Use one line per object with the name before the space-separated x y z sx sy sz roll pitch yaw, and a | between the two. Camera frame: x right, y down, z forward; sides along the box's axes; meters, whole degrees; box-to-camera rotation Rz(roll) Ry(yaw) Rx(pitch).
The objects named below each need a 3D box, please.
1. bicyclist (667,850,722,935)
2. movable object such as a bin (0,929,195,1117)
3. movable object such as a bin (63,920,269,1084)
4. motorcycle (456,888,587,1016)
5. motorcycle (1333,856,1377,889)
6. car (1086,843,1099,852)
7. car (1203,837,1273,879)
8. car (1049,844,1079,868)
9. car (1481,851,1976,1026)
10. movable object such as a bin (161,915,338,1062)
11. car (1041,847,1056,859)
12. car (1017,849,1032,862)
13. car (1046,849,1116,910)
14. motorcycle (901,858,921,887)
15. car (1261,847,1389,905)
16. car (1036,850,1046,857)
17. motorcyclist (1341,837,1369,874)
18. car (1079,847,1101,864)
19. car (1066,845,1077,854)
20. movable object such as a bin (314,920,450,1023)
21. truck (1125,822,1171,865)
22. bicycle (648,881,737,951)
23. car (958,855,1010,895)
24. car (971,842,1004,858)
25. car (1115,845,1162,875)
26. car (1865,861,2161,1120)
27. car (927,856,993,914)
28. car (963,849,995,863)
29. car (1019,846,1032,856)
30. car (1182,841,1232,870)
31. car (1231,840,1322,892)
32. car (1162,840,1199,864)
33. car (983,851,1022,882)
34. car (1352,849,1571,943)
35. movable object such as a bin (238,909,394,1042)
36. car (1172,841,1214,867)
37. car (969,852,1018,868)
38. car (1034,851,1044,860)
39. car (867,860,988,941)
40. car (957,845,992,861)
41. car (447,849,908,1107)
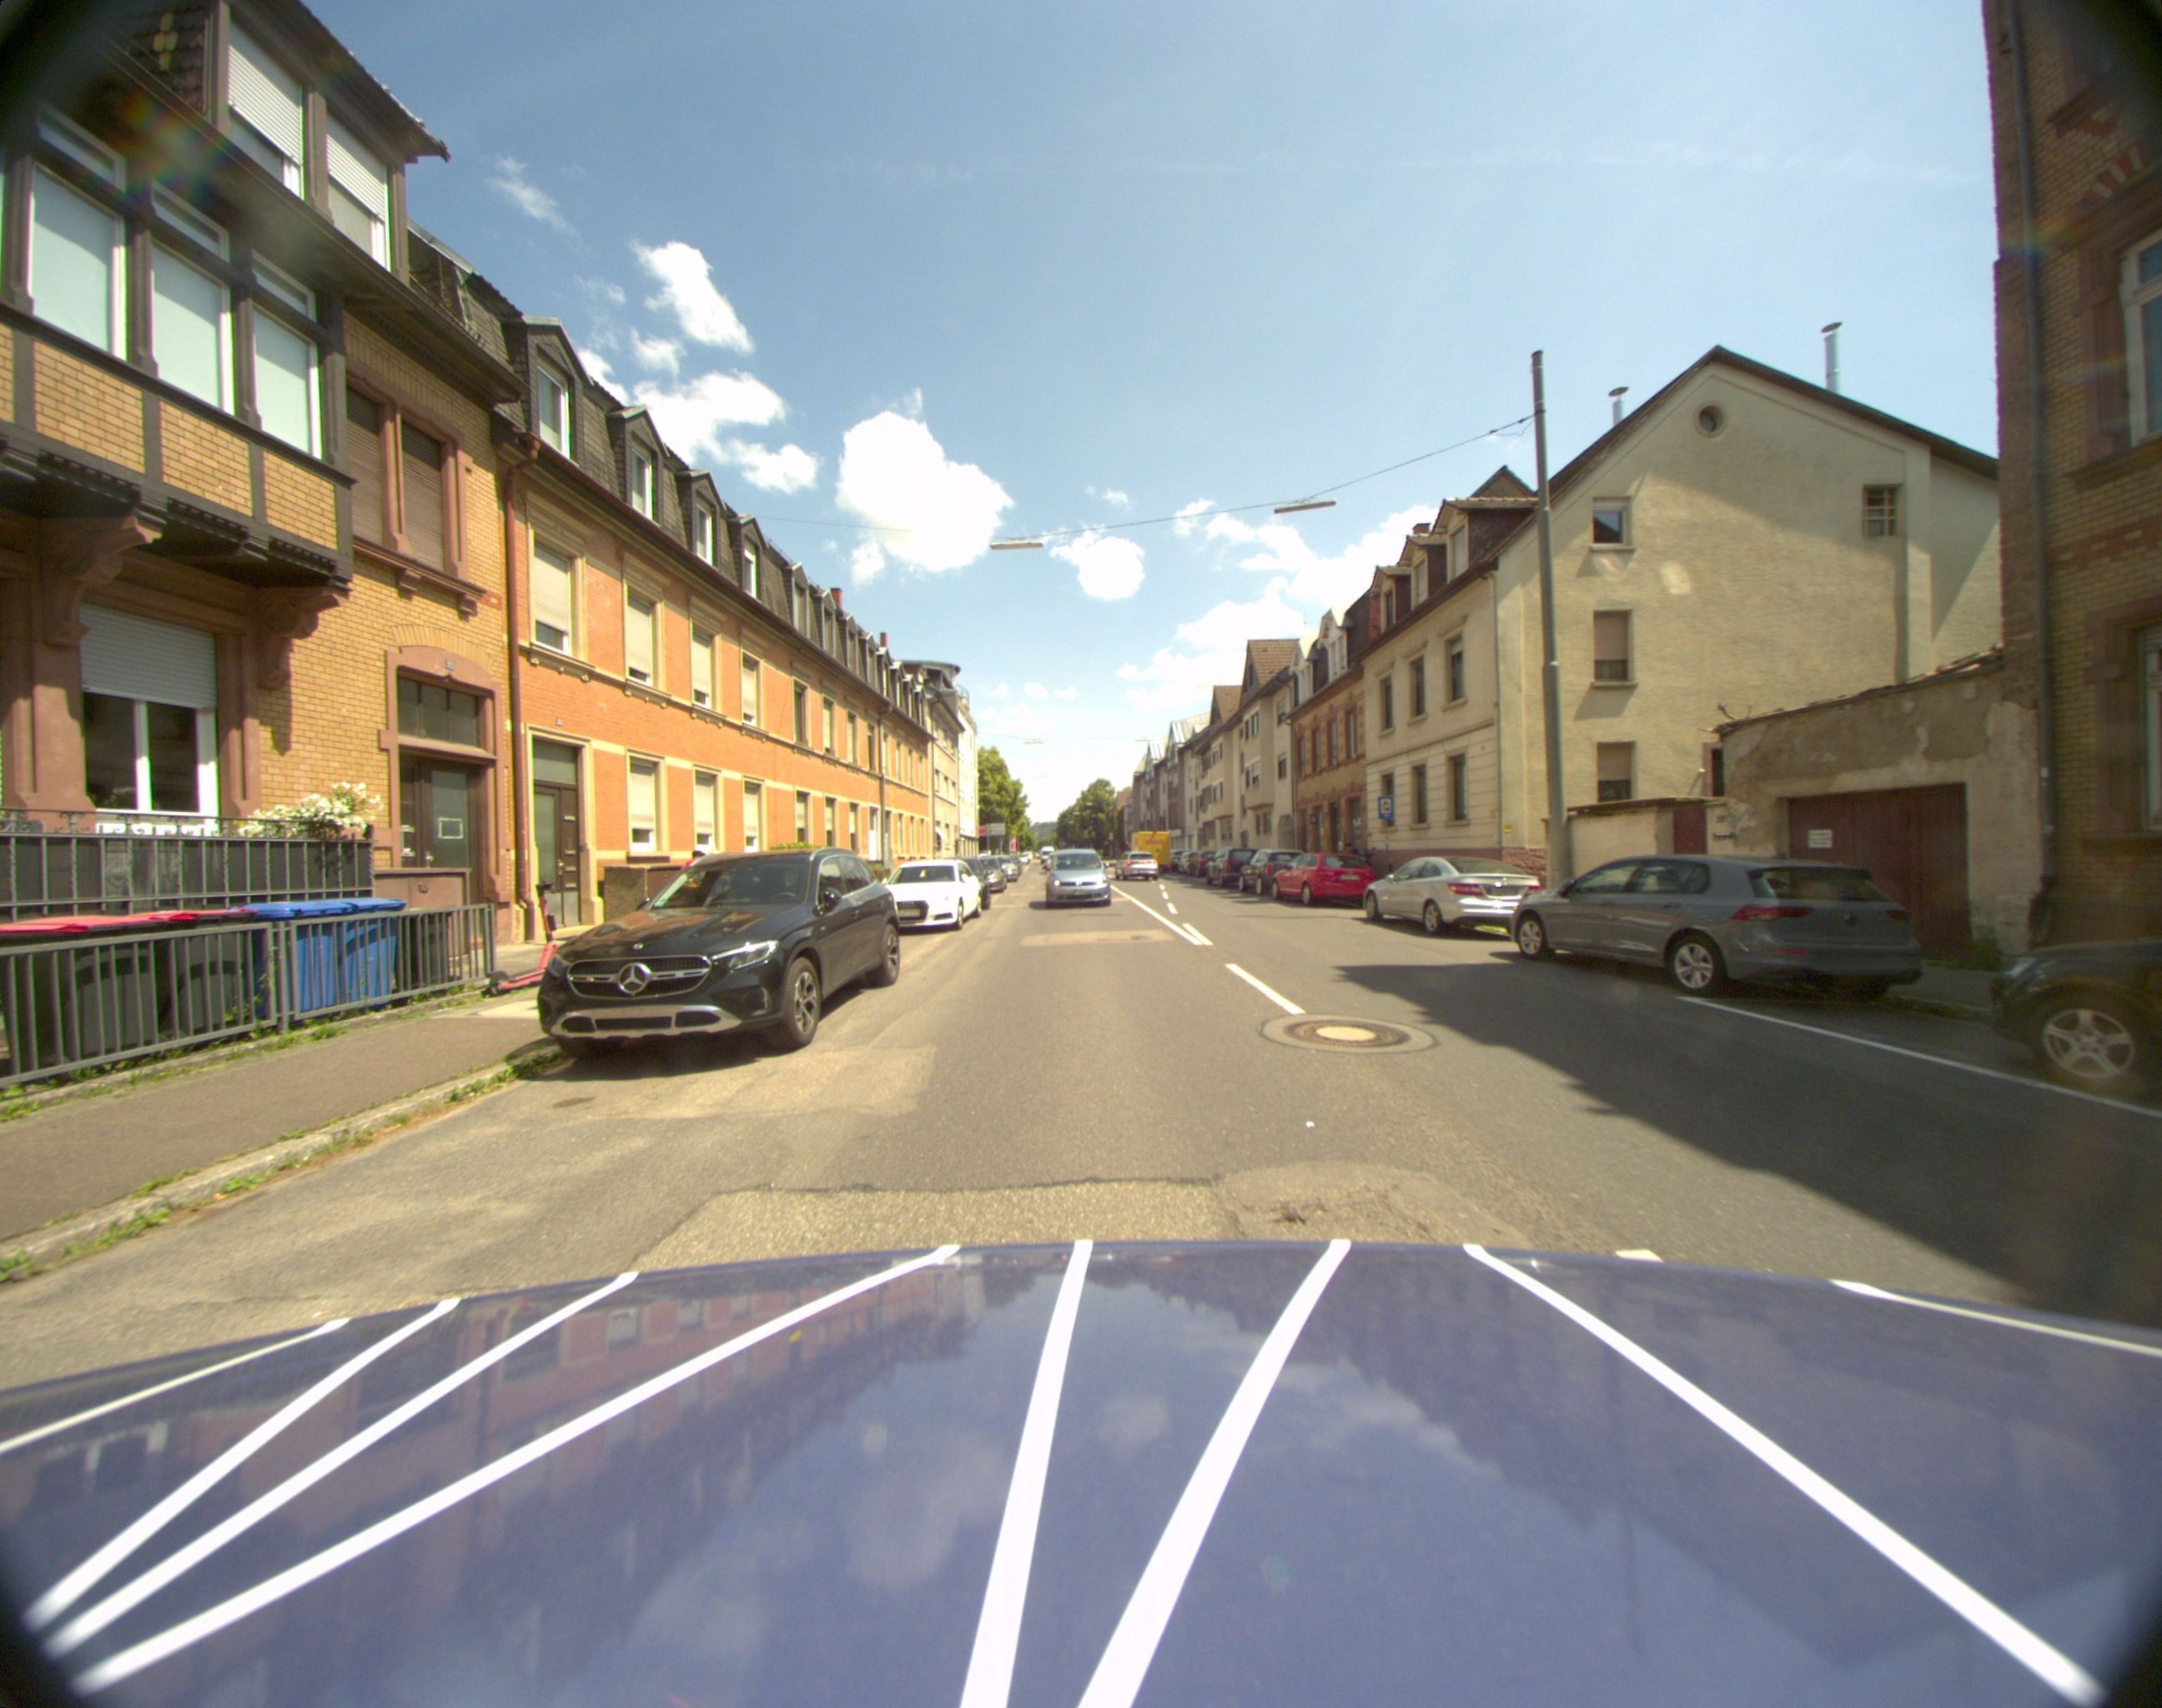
bicyclist | -6.888 0.658 13.572 0.534 1.461 0.790 -1 1 0
movable object such as a bin | -6.696 1.080 5.032 0.790 1.082 0.686 -1 1 -3
movable object such as a bin | -6.731 1.066 5.625 0.790 1.082 0.553 -1 1 -3
motorcycle | -6.110 1.022 8.374 0.441 1.230 1.357 0 1 -1
motorcycle | 9.587 0.636 26.654 0.847 1.072 1.871 -2 1 -1
car | 2.011 -1.132 138.004 1.891 1.531 4.565 -1 1 -5
car | 6.423 0.124 31.584 1.844 1.587 4.501 1 1 -1
car | -1.155 0.098 54.254 1.999 1.652 4.624 -1 1 0
car | 6.954 0.748 9.014 1.845 1.414 4.500 3 1 -2
movable object such as a bin | -6.760 1.073 6.209 0.790 1.082 0.543 -1 1 -3
car | -4.112 -0.102 96.440 1.721 1.406 4.588 -1 1 0
car | -7.226 0.144 96.552 1.772 1.477 3.888 -2 1 -5
car | -0.096 0.650 21.735 1.747 1.513 4.221 -1 1 -3
motorcycle | -7.596 0.820 33.941 0.597 1.218 1.361 -1 1 -1
car | 6.667 0.527 21.352 1.845 1.414 4.500 1 1 -4
car | -7.758 -0.131 148.365 1.721 1.406 4.588 -1 1 0
motorcyclist | 9.594 0.047 26.635 0.720 1.241 0.712 -1 1 -2
car | 0.772 0.145 67.667 1.501 1.451 2.720 -2 1 -8
car | -1.795 -0.859 146.343 1.817 1.611 4.439 0 0 -4
movable object such as a bin | -6.817 1.131 7.435 0.790 0.902 0.539 -1 1 -3
truck | 4.581 -0.710 53.025 2.231 2.755 7.561 0 1 -2
bicycle | -6.853 1.053 13.509 0.595 1.060 1.882 -1 1 0
car | -3.824 0.777 30.552 1.705 1.373 4.164 -2 1 -3
car | -14.175 -0.604 115.364 4.615 2.263 2.105 -3 1 -3
car | 2.835 0.269 38.215 1.795 1.412 4.313 -1 1 -3
car | 6.992 0.832 3.608 1.844 1.414 4.501 2 1 1
car | -3.467 0.818 22.381 1.653 1.406 4.498 -2 1 -6
car | -12.608 0.217 93.902 3.775 1.658 1.662 -1 1 -8
car | -8.144 -0.470 111.842 1.668 1.420 3.998 -2 1 -3
car | 7.289 0.047 44.399 1.845 1.479 4.500 -4 1 -3
car | 6.676 0.349 26.431 1.844 1.587 4.501 2 1 -1
car | 7.178 -0.180 55.216 1.845 1.586 4.384 -4 1 -3
car | -4.330 0.640 41.377 1.859 1.455 4.546 -2 1 -8
car | 6.979 0.672 14.576 1.844 1.414 4.500 1 2 -1
movable object such as a bin | -6.801 1.058 6.783 0.790 1.082 0.539 -1 1 -3
car | 7.264 -0.021 49.532 1.845 1.479 4.384 -4 1 -2
car | -8.524 0.561 74.340 4.595 1.357 1.999 -2 1 -5
car | -7.709 0.216 140.311 1.868 1.516 4.206 -2 1 -3
car | -3.199 0.906 16.755 1.721 1.406 4.588 -1 1 0
car | -12.748 -0.099 91.224 3.998 1.741 2.015 -2 1 -4
car | -3.220 0.818 7.397 1.999 1.652 4.624 -1 1 0
